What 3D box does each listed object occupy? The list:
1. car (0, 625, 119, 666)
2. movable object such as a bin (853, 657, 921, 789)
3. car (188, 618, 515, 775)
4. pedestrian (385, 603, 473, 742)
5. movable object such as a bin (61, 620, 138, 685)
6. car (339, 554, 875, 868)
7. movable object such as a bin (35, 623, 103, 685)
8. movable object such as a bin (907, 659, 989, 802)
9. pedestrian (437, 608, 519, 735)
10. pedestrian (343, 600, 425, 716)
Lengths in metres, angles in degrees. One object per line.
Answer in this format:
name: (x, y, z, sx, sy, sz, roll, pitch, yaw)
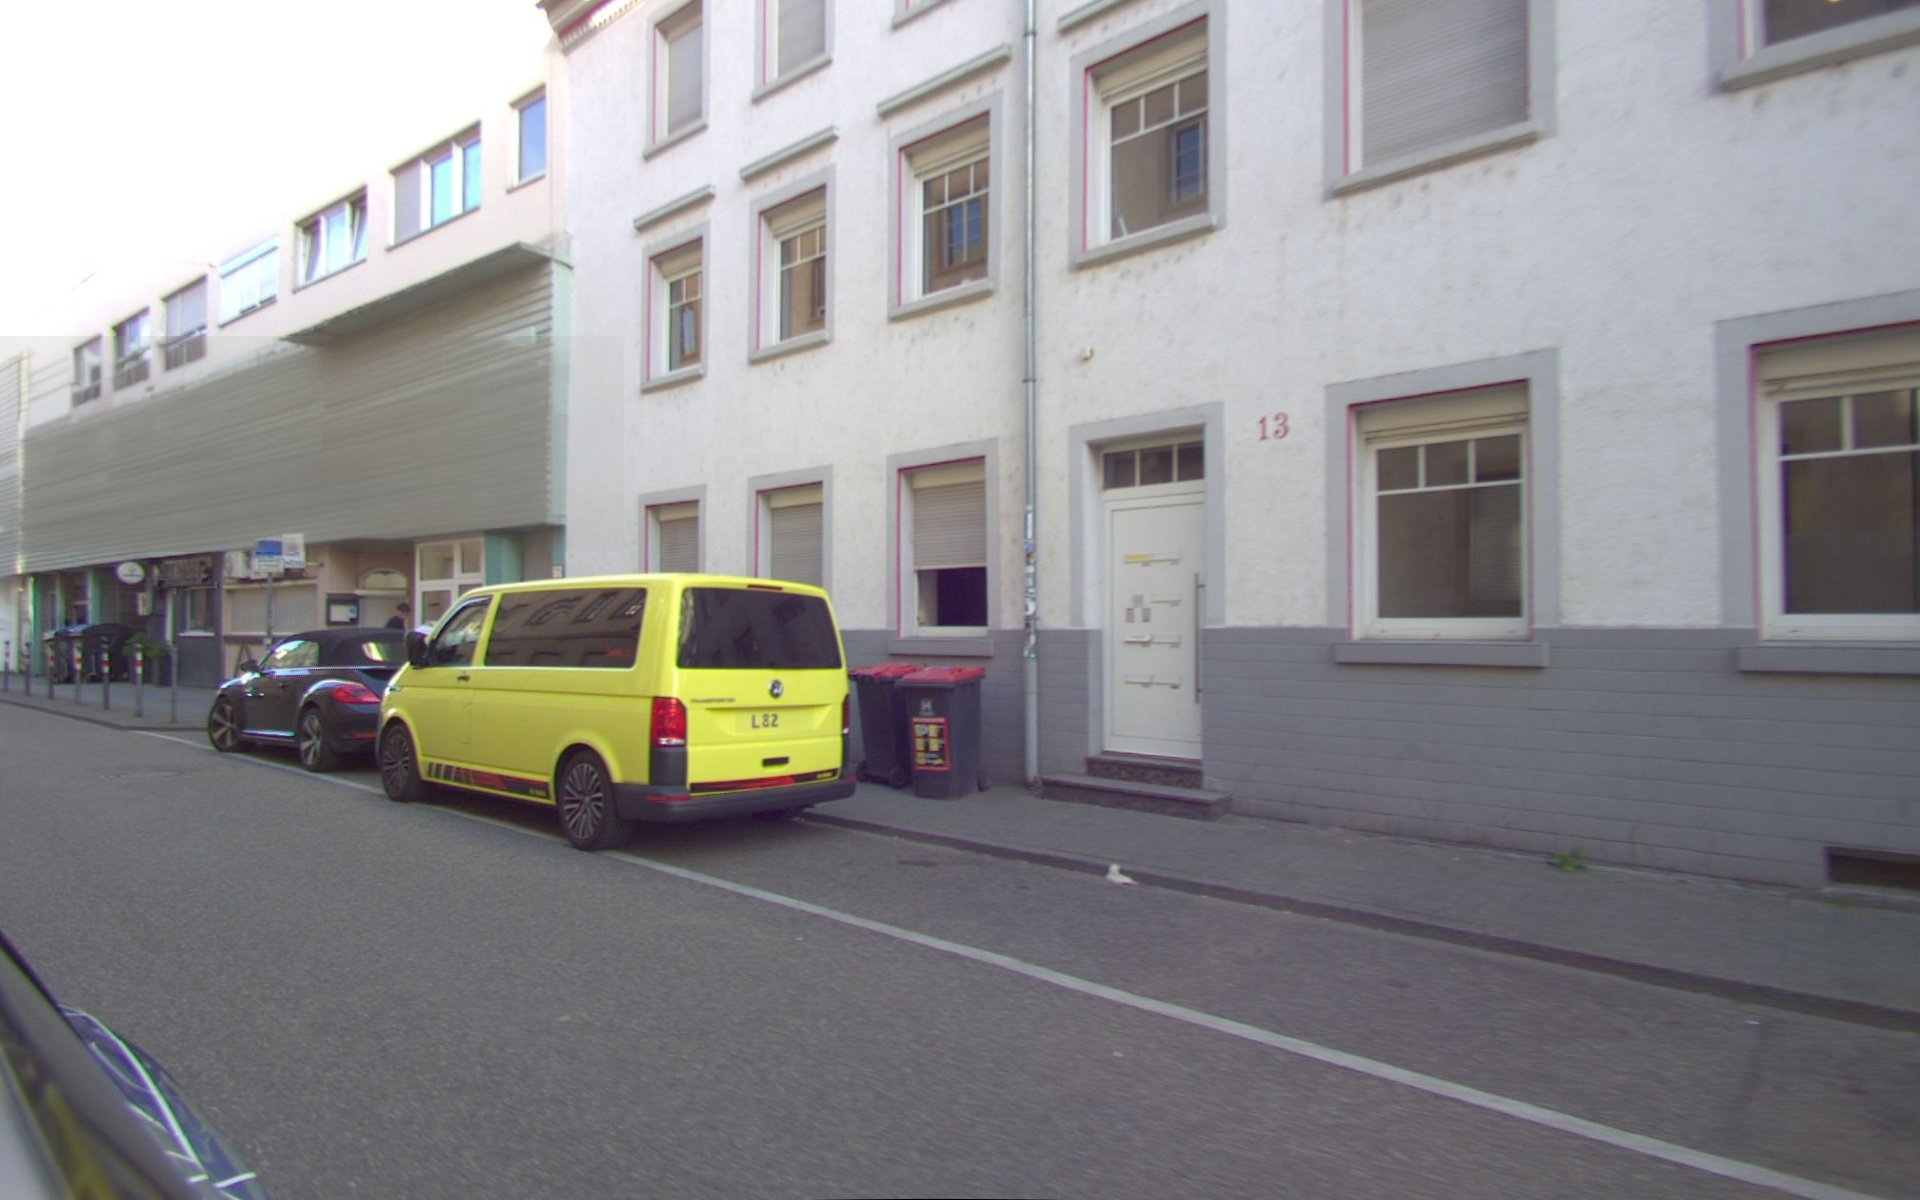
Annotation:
car: (-35.455, 1.746, 39.361, 1.688, 1.531, 3.900, -1, -2, 33)
movable object such as a bin: (-0.645, 1.064, 8.934, 0.433, 1.113, 0.406, -2, -3, 41)
car: (-7.093, 1.012, 11.674, 4.070, 1.497, 1.802, -1, -4, 37)
pedestrian: (-6.945, 0.930, 13.251, 0.828, 1.748, 0.691, -1, -3, 37)
movable object such as a bin: (-20.873, 1.259, 24.543, 1.339, 1.532, 1.112, -3, -3, 35)
car: (-3.115, 0.764, 8.358, 4.859, 1.881, 1.861, -1, -4, 39)
movable object such as a bin: (-22.317, 1.346, 25.339, 1.471, 1.483, 0.960, -3, -3, 35)
movable object such as a bin: (-0.097, 1.057, 8.380, 0.433, 1.113, 0.534, -2, -3, 41)
pedestrian: (-6.642, 0.960, 13.944, 0.893, 1.682, 0.666, -1, -3, 37)
pedestrian: (-8.993, 0.888, 15.817, 1.063, 1.742, 0.804, 1, -2, -30)
